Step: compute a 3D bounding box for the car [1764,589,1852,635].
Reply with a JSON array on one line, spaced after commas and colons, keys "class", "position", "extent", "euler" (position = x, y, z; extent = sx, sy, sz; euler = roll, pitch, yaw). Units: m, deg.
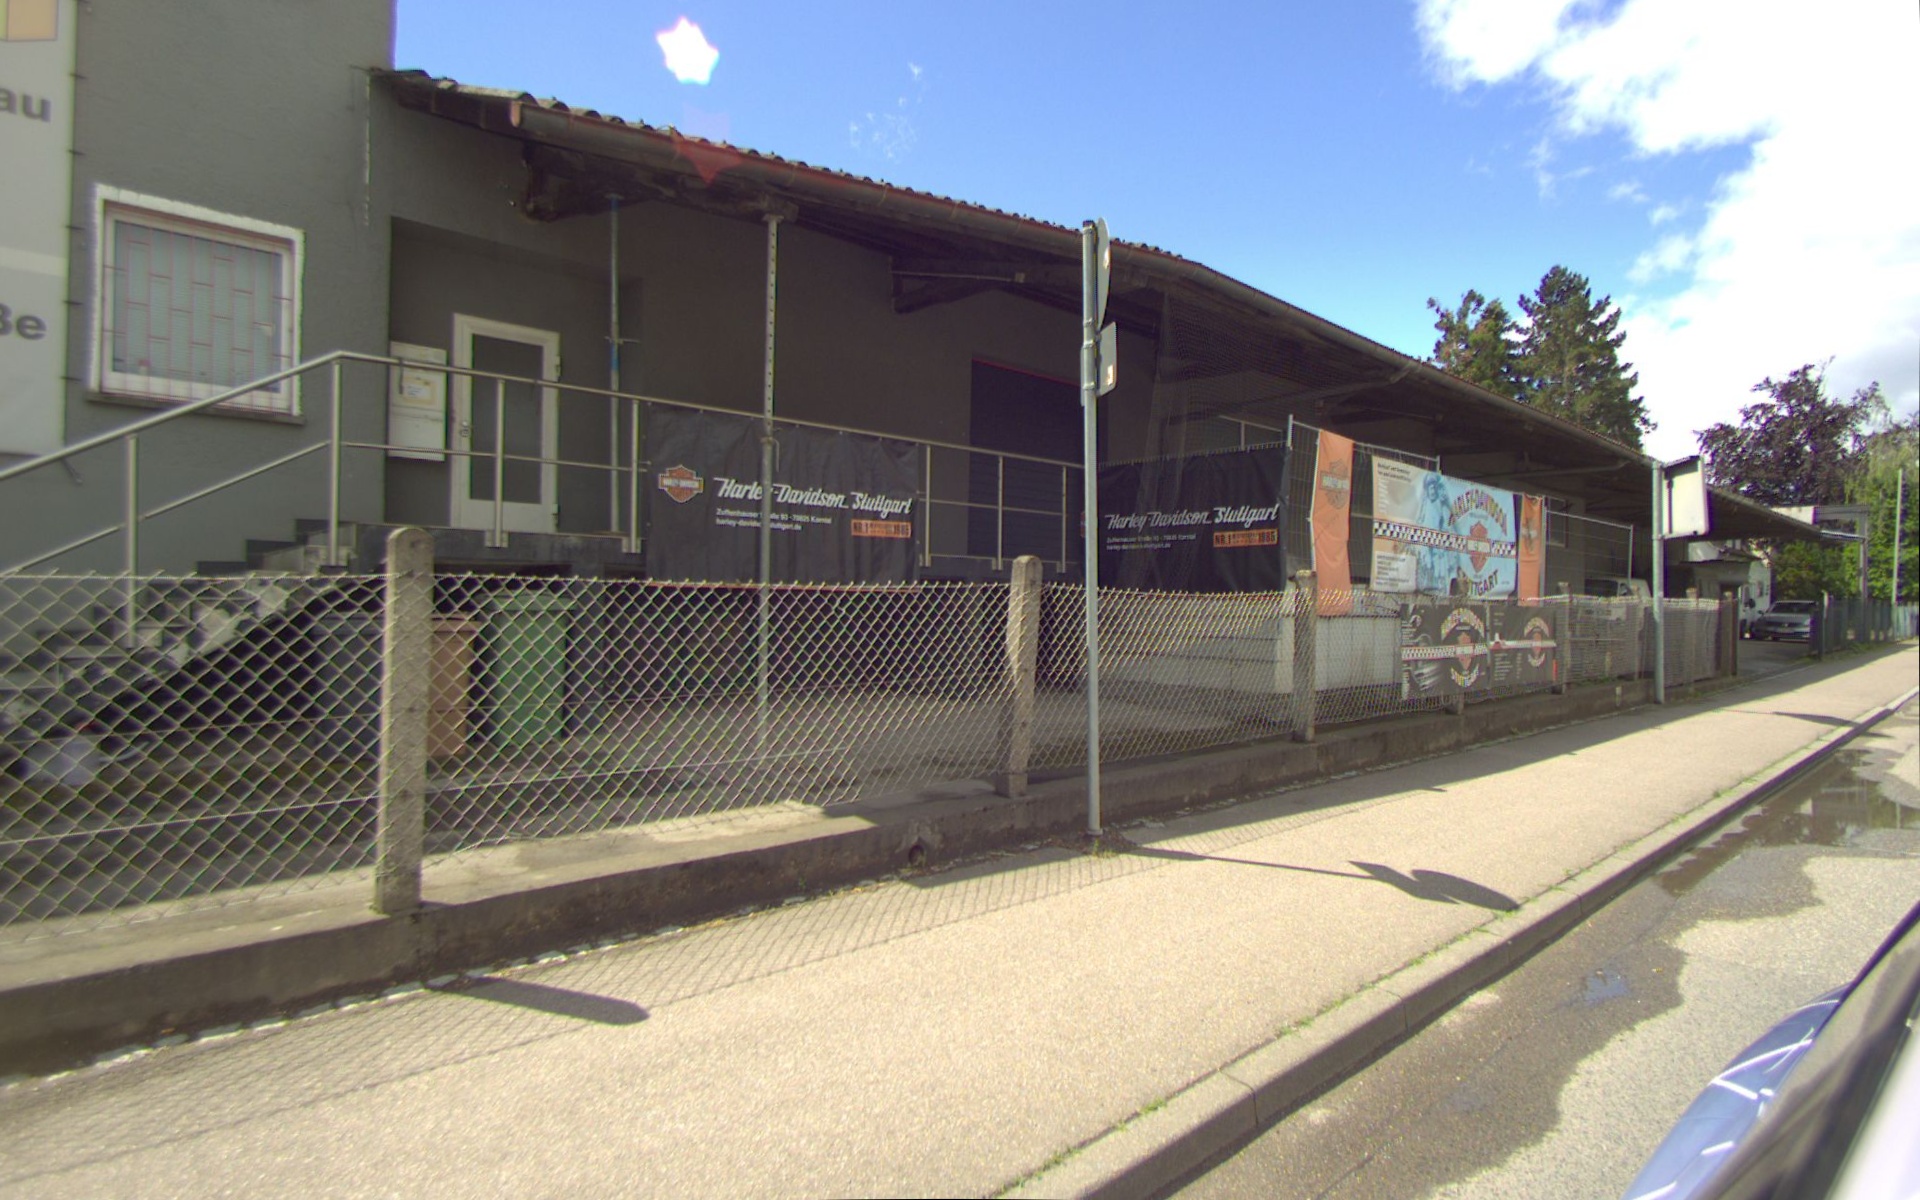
[{"class": "car", "position": [29.674, 0.426, 35.361], "extent": [4.842, 1.508, 1.766], "euler": [1, 0, -43]}]

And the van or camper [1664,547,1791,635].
[{"class": "van or camper", "position": [29.567, -0.329, 38.893], "extent": [6.798, 3.099, 2.883], "euler": [0, 0, -44]}]

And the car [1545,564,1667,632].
[{"class": "car", "position": [19.755, -0.042, 30.876], "extent": [4.770, 1.934, 1.996], "euler": [1, 0, -43]}]

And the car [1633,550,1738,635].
[{"class": "car", "position": [25.119, -0.199, 34.942], "extent": [5.405, 2.715, 2.019], "euler": [2, -1, -44]}]
